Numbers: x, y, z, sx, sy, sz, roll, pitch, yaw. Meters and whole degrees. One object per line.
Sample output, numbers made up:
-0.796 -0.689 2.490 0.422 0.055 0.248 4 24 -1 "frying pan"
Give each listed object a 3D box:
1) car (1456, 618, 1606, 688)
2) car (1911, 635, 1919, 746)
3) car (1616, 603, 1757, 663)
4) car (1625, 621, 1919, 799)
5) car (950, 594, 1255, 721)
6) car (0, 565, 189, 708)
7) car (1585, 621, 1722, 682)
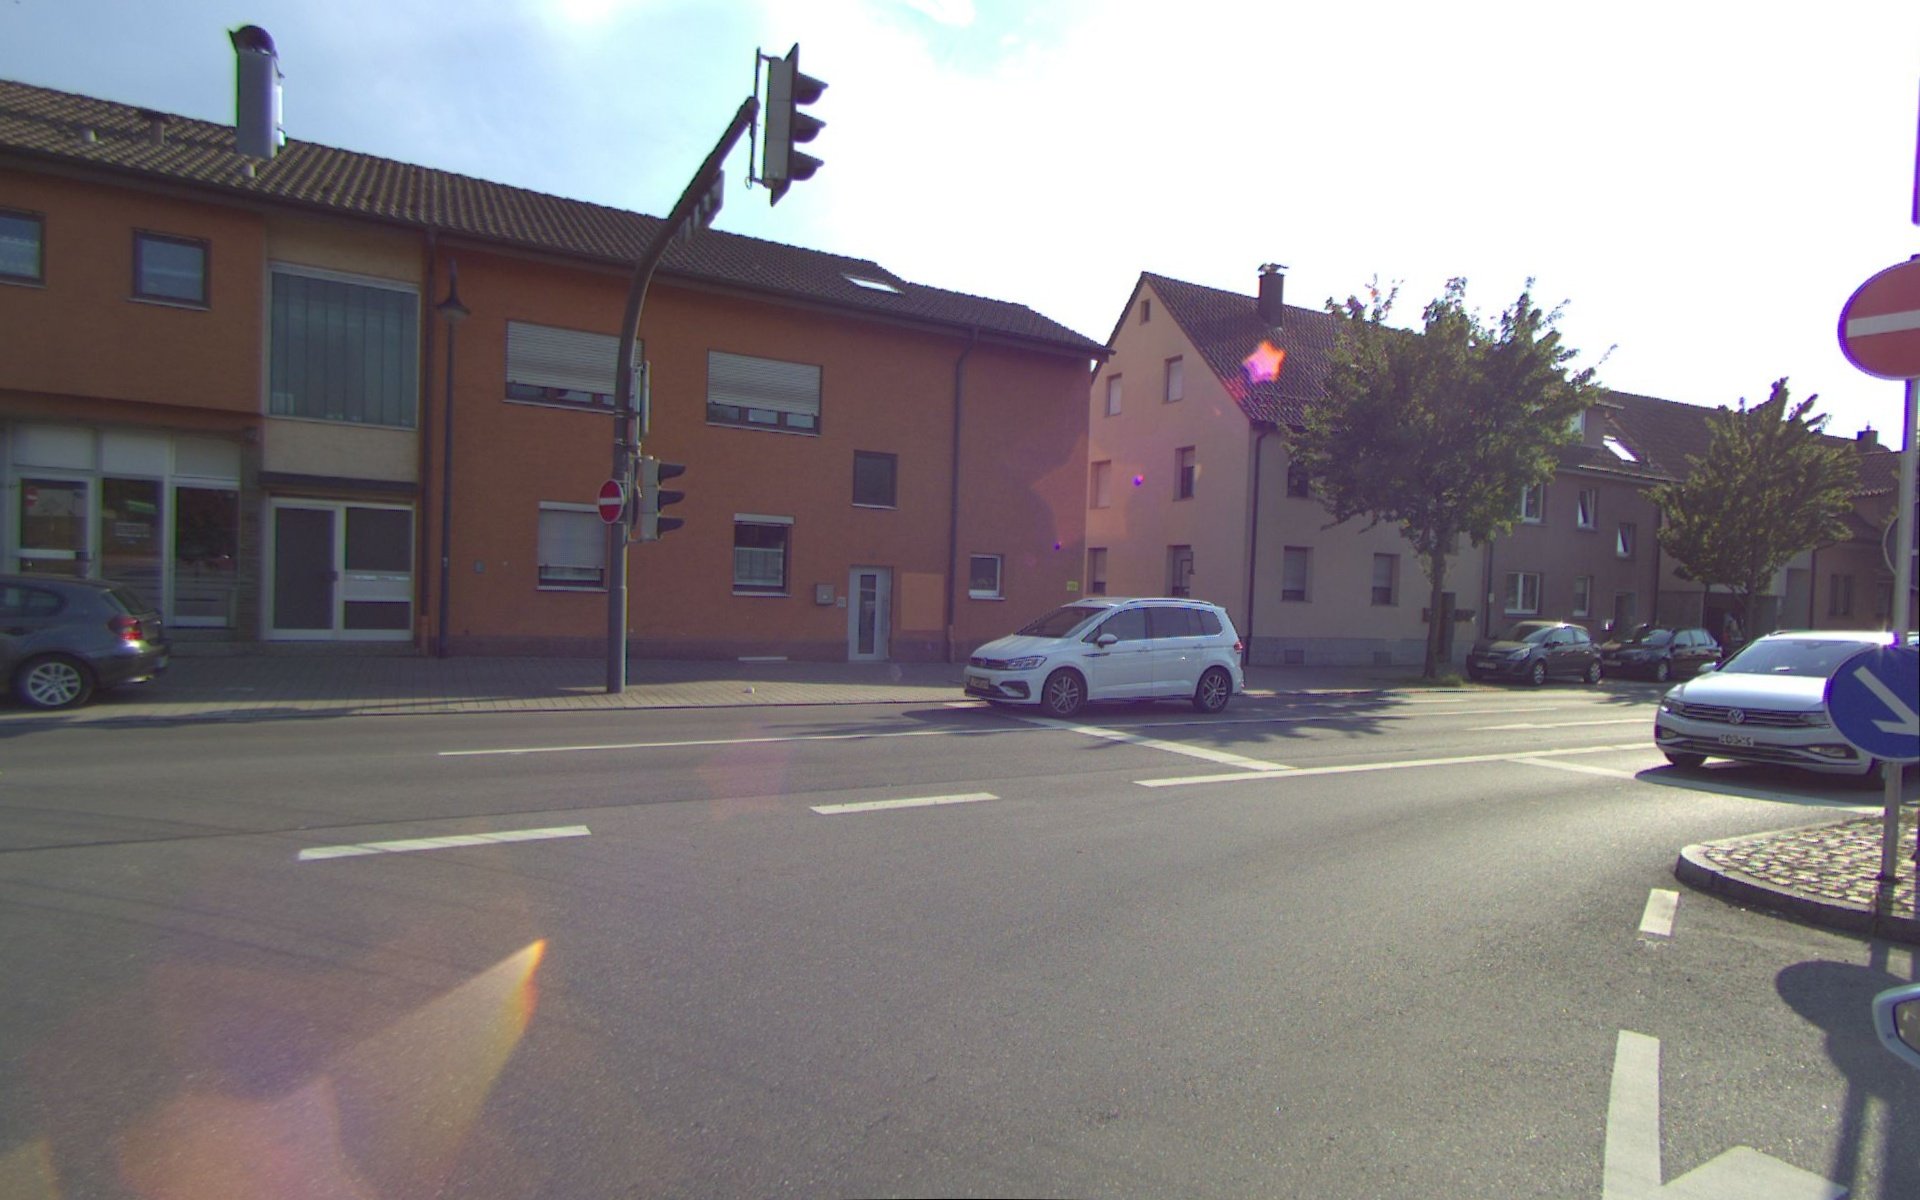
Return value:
14.128 1.279 24.810 3.841 1.531 1.504 1 2 -31 "car"
14.364 1.244 13.255 3.533 1.446 1.583 2 0 -28 "car"
27.065 1.199 37.538 1.757 1.906 3.805 2 2 -28 "car"
9.274 1.027 10.736 4.513 1.508 1.826 1 0 -31 "car"
2.164 0.805 14.839 4.362 1.633 1.677 2 0 -31 "car"
-10.986 0.349 10.896 3.893 1.433 1.787 2 2 -29 "car"
19.128 1.392 27.651 4.087 1.530 1.610 1 0 -32 "car"
